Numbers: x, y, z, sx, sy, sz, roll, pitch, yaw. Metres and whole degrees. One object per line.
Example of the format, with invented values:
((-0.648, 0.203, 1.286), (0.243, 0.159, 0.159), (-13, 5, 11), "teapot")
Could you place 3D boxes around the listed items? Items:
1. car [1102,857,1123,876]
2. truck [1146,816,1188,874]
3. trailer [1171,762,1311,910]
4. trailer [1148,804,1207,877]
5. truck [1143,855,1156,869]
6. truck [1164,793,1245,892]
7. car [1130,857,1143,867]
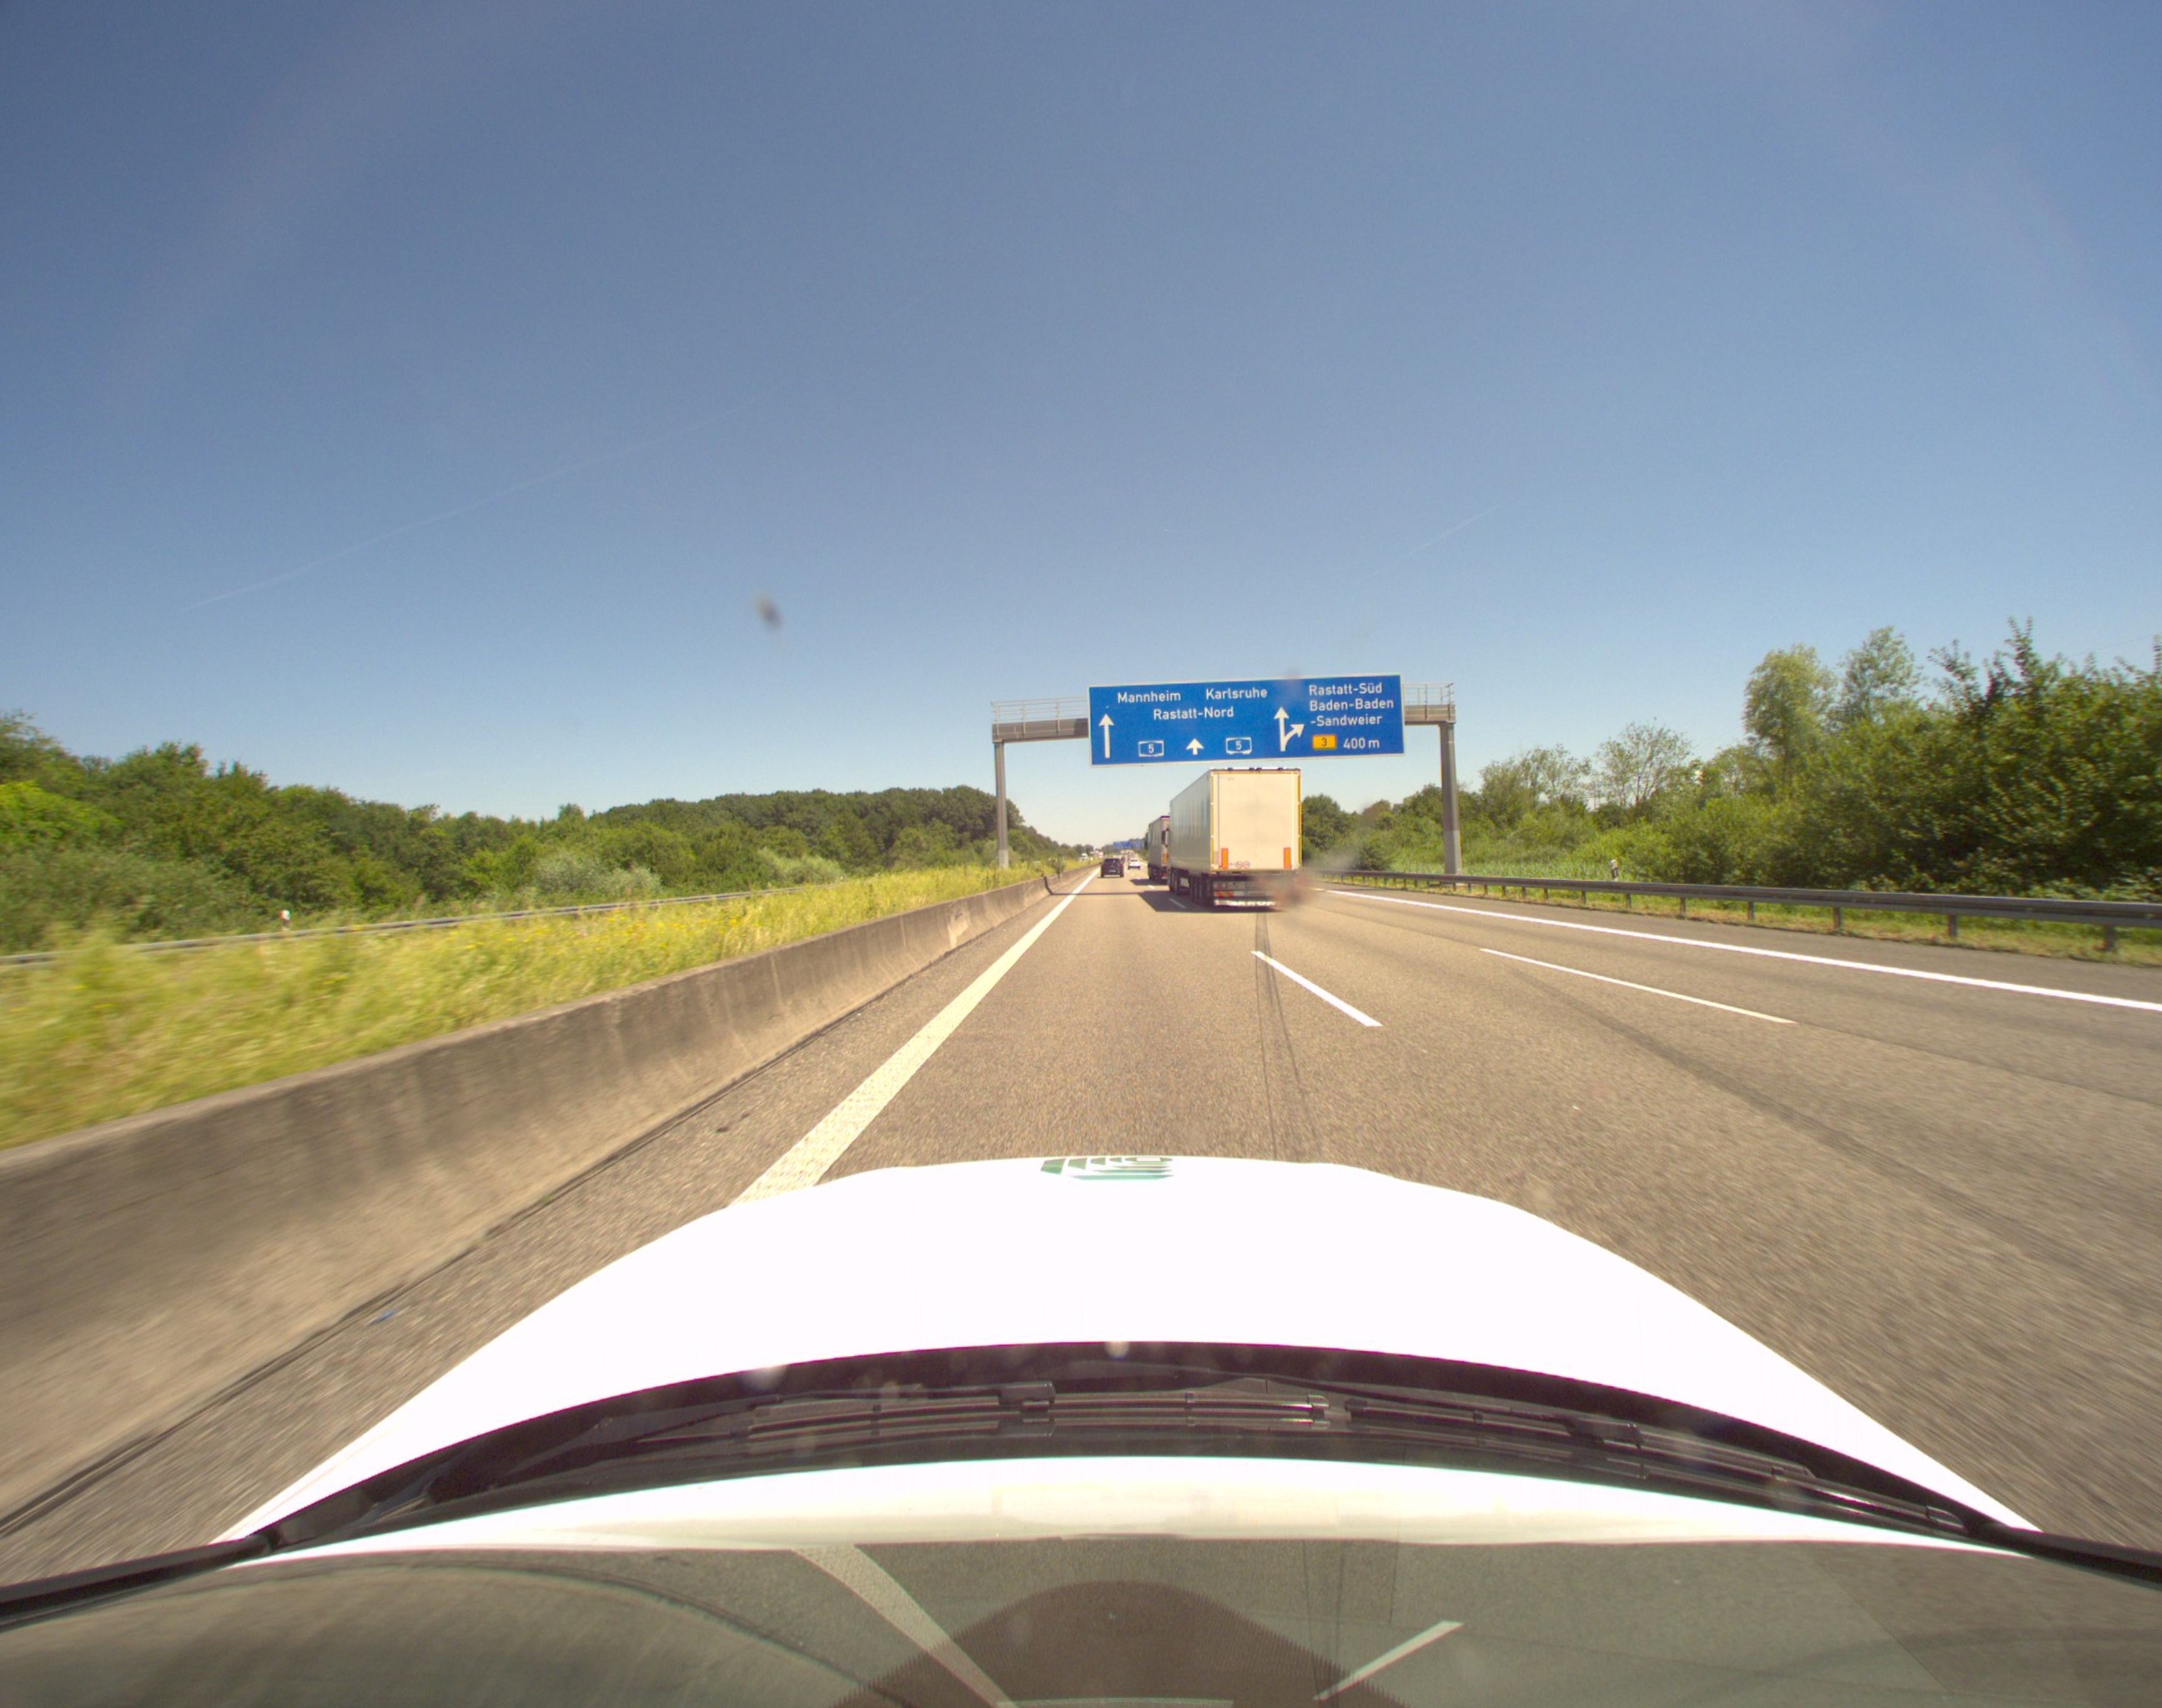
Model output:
((2.705, 1.101, 70.366), (1.654, 1.549, 3.784), (-2, -1, 1), "car")
((6.314, -0.604, 60.612), (2.690, 4.094, 6.456), (-1, -1, 2), "truck")
((5.107, -0.487, 28.766), (2.784, 4.035, 12.572), (-1, 0, 2), "trailer")
((6.033, -0.665, 53.239), (2.697, 4.068, 14.753), (-1, -1, 2), "trailer")
((12.177, 1.464, 144.035), (1.986, 2.373, 4.646), (-1, 0, 2), "truck")
((5.333, -0.464, 36.251), (2.789, 4.007, 6.022), (-1, 0, 2), "truck")
((8.339, 1.234, 122.791), (1.733, 1.486, 4.002), (-1, 0, 2), "car")
